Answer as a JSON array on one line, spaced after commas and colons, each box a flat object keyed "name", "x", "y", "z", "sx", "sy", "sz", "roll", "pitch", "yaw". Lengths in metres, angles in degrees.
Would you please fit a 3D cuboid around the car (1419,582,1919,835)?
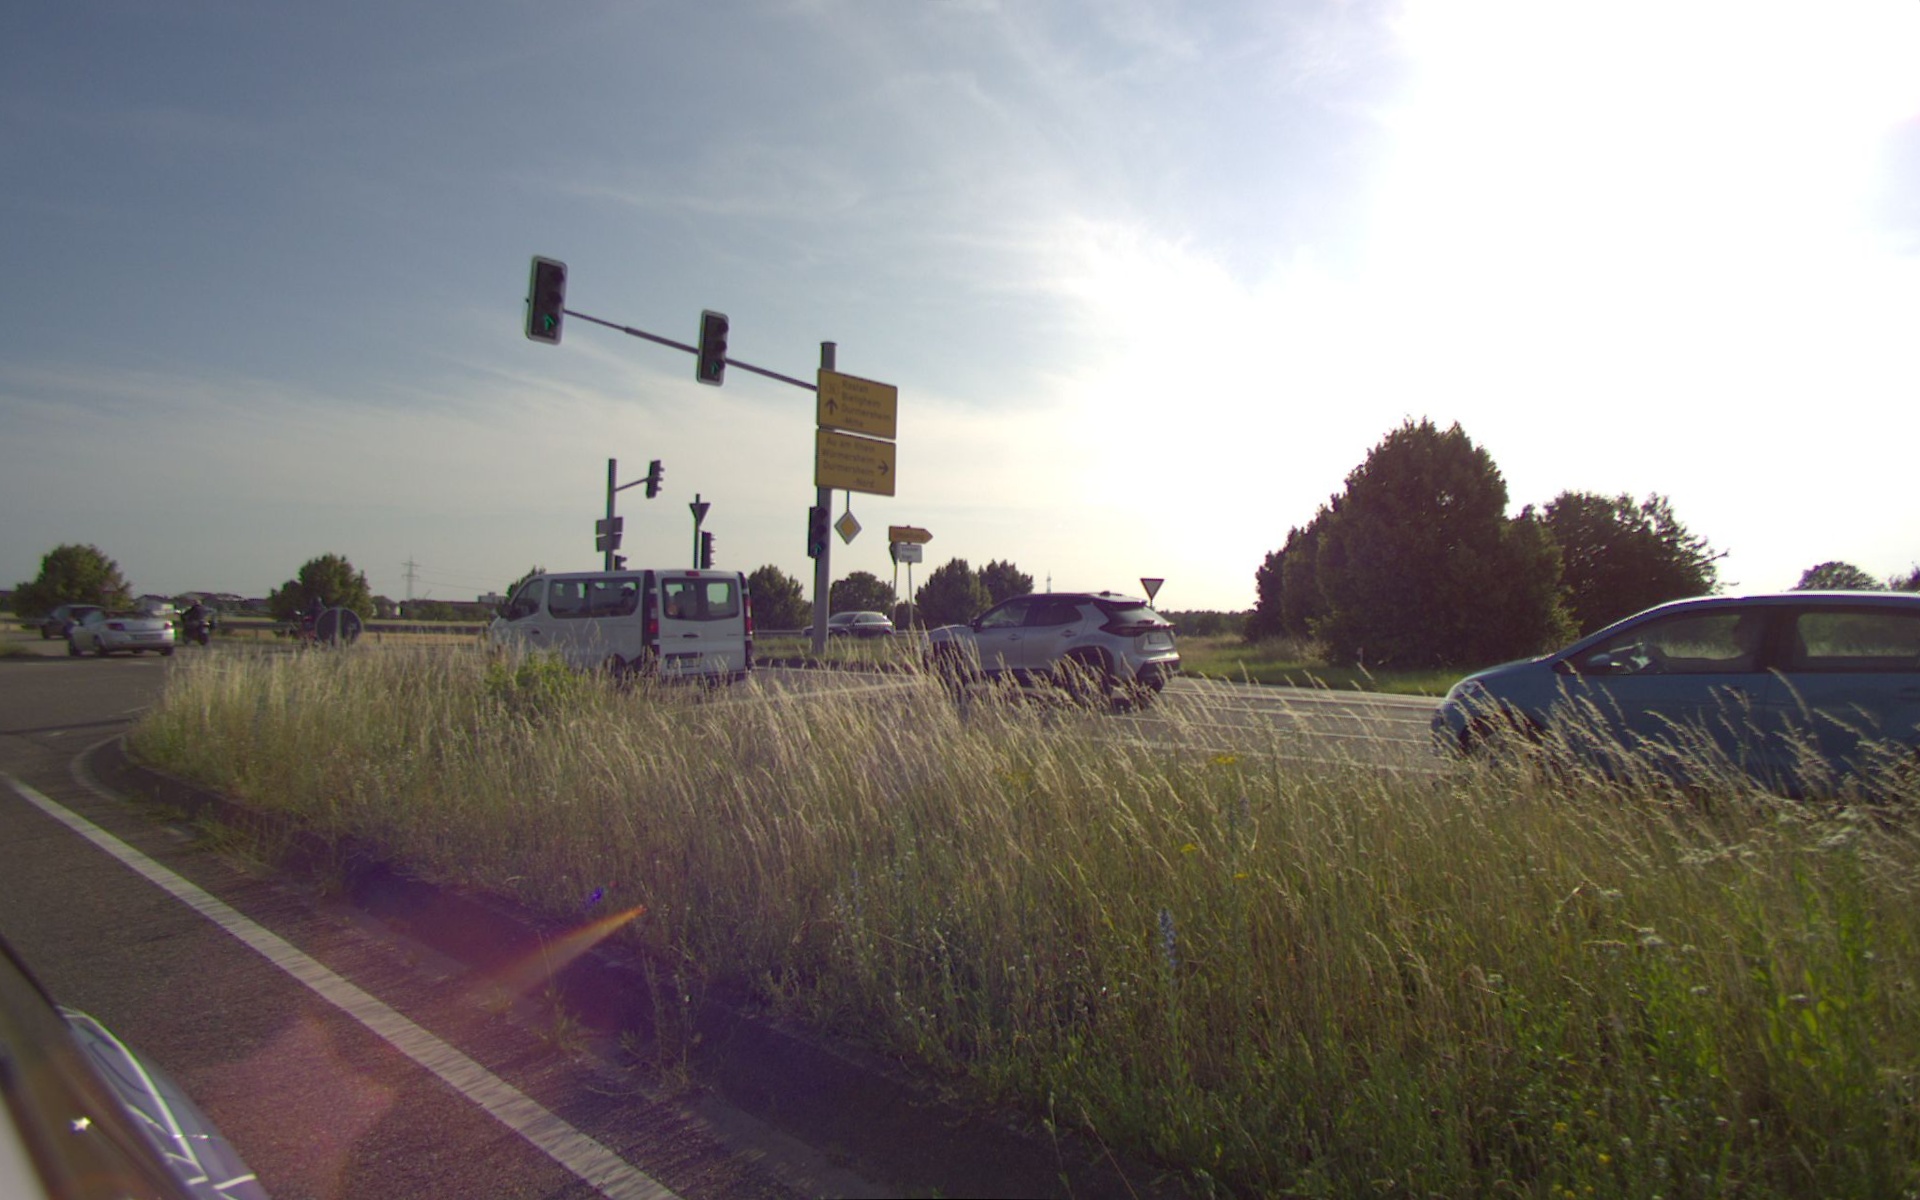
[{"name": "car", "x": 5.395, "y": 0.635, "z": 6.988, "sx": 3.749, "sy": 1.454, "sz": 1.661, "roll": -1, "pitch": -1, "yaw": 40}]

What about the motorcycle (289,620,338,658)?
[{"name": "motorcycle", "x": -20.864, "y": 1.247, "z": 32.628, "sx": 2.020, "sy": 1.167, "sz": 0.701, "roll": -1, "pitch": -1, "yaw": 38}]

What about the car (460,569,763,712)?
[{"name": "car", "x": -5.745, "y": 0.573, "z": 16.192, "sx": 5.785, "sy": 1.918, "sz": 1.973, "roll": -1, "pitch": -1, "yaw": 41}]

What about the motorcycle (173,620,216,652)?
[{"name": "motorcycle", "x": -28.244, "y": 1.325, "z": 37.335, "sx": 2.274, "sy": 1.147, "sz": 0.694, "roll": -1, "pitch": -1, "yaw": 37}]

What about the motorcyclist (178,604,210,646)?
[{"name": "motorcyclist", "x": -28.238, "y": 0.923, "z": 37.306, "sx": 0.895, "sy": 1.514, "sz": 0.691, "roll": -1, "pitch": -2, "yaw": 37}]

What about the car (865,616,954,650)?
[{"name": "car", "x": -2.153, "y": 1.397, "z": 44.217, "sx": 1.954, "sy": 1.409, "sz": 3.955, "roll": -1, "pitch": -1, "yaw": 33}]

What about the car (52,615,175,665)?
[{"name": "car", "x": -24.885, "y": 1.129, "z": 29.701, "sx": 4.442, "sy": 1.363, "sz": 1.680, "roll": -1, "pitch": -1, "yaw": 35}]

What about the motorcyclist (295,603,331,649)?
[{"name": "motorcyclist", "x": -20.859, "y": 0.829, "z": 32.621, "sx": 1.019, "sy": 1.476, "sz": 0.698, "roll": -1, "pitch": -1, "yaw": 38}]

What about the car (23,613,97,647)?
[{"name": "car", "x": -38.941, "y": 1.273, "z": 43.755, "sx": 3.514, "sy": 1.423, "sz": 1.671, "roll": -1, "pitch": -1, "yaw": 36}]

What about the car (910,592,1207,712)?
[{"name": "car", "x": 1.360, "y": 0.692, "z": 14.911, "sx": 4.130, "sy": 1.536, "sz": 1.689, "roll": -1, "pitch": -1, "yaw": 39}]
